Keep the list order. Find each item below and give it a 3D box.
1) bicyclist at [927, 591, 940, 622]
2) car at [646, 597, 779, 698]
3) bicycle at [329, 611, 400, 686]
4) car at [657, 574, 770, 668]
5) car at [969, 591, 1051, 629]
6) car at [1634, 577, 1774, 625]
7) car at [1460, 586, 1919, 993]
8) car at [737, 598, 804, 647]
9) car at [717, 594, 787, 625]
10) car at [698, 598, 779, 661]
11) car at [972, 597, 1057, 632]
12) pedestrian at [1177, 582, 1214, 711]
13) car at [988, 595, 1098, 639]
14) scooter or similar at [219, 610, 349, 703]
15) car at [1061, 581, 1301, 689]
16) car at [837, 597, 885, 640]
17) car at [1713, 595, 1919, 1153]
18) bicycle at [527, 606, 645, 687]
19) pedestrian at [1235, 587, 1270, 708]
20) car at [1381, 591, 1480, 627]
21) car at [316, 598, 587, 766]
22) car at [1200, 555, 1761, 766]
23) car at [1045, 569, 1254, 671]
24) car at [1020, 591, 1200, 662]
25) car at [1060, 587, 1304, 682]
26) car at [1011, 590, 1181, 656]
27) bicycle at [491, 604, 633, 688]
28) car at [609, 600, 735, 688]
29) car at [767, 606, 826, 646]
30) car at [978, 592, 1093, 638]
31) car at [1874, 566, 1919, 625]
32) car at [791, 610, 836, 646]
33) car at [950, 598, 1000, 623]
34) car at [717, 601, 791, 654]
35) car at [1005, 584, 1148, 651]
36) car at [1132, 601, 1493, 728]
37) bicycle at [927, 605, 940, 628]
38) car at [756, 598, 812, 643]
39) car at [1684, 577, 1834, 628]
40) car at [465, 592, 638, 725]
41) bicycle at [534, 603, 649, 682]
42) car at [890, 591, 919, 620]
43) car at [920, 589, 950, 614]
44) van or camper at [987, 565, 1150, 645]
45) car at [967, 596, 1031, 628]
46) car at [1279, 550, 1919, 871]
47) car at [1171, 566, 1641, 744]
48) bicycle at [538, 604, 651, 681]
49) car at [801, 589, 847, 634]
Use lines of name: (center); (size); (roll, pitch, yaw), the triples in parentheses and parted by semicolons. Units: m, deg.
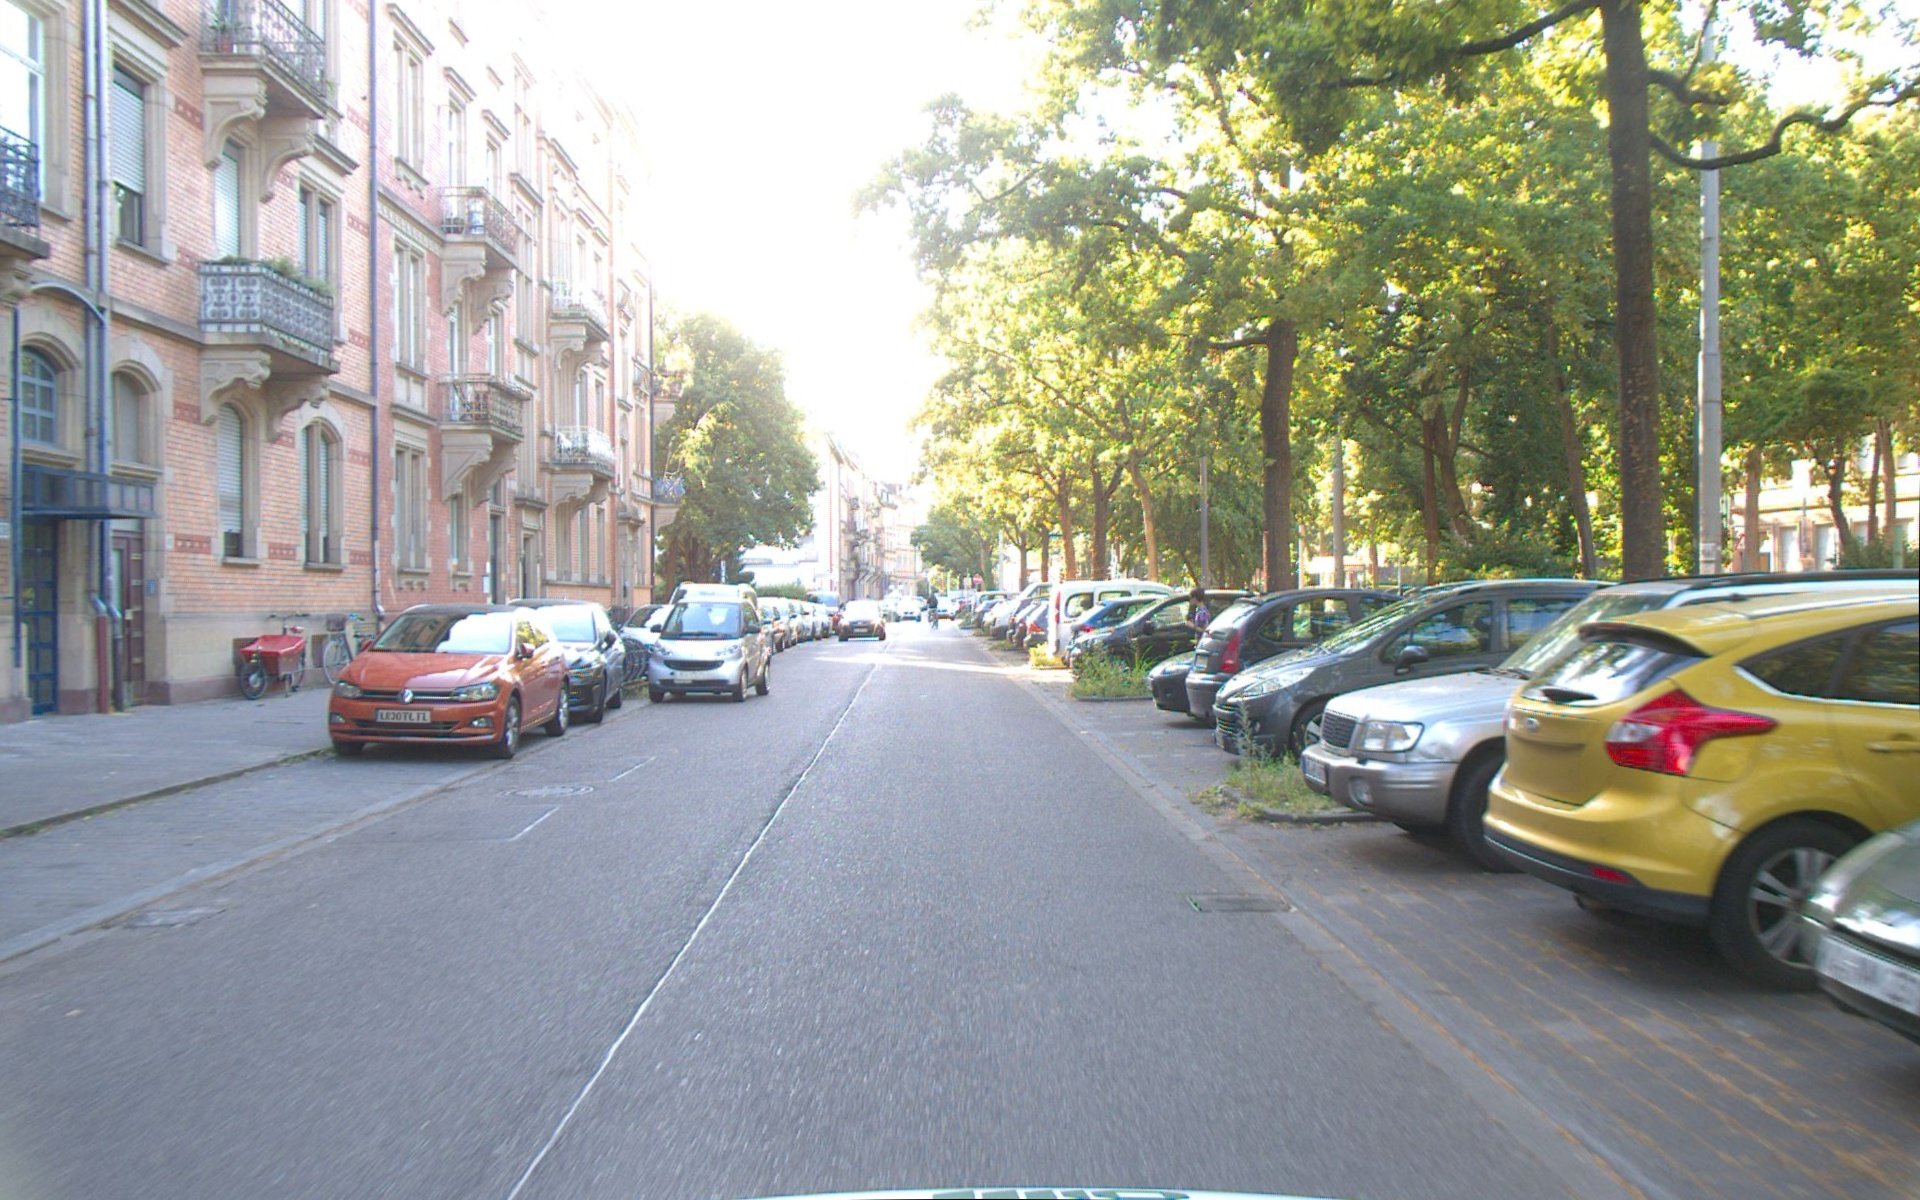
bicyclist: (-1.380, 0.341, 86.106); (0.615, 1.601, 0.801); (0, -2, -2)
car: (-3.812, 0.702, 25.861); (1.473, 1.460, 2.754); (-2, 0, 3)
bicycle: (-9.534, 0.781, 26.530); (0.418, 1.150, 1.769); (0, -2, 2)
car: (-5.435, 0.507, 37.055); (1.953, 1.955, 5.037); (0, -2, -2)
car: (2.462, 0.512, 82.141); (3.908, 1.825, 1.857); (1, -2, -4)
car: (27.311, 0.062, 60.847); (4.603, 1.713, 1.999); (0, -2, 22)
car: (4.554, 0.665, 6.997); (4.308, 1.465, 1.838); (-2, -1, 1)
car: (-6.062, 0.702, 53.232); (1.669, 1.454, 3.877); (2, 0, 0)
car: (-12.336, 0.580, 98.186); (3.905, 1.736, 2.000); (0, -2, 0)
car: (-5.656, 0.729, 42.572); (1.636, 1.512, 3.998); (1, 0, -2)
car: (2.604, 0.699, 79.470); (3.908, 1.591, 1.857); (1, -2, -4)
pedestrian: (3.005, 0.585, 21.061); (0.372, 1.612, 0.519); (0, 2, 18)
car: (3.085, 0.640, 61.866); (3.908, 1.575, 1.857); (1, -2, -4)
scooter or similar: (-9.529, 0.797, 23.447); (0.767, 1.244, 2.703); (0, -2, -1)
car: (3.516, 0.549, 26.808); (3.599, 1.528, 1.761); (-2, 0, 0)
car: (-3.628, 0.669, 61.365); (1.635, 1.489, 3.998); (-2, 0, -2)
car: (4.666, 0.665, 4.562); (4.308, 1.465, 1.838); (-2, -1, 1)
bicycle: (-5.848, 0.728, 25.900); (1.727, 1.236, 0.441); (0, -2, -2)
pedestrian: (3.830, 0.609, 21.635); (0.372, 1.543, 0.519); (0, 2, 18)
car: (23.394, 0.447, 82.249); (4.603, 1.713, 2.000); (0, -2, 22)
car: (-5.107, 0.753, 17.160); (1.719, 1.489, 3.998); (2, 0, -3)
car: (4.418, 0.504, 14.529); (4.309, 1.619, 1.837); (-2, -1, 0)
car: (3.925, 0.410, 34.781); (4.134, 1.896, 1.761); (-2, 0, 0)
car: (3.537, 0.611, 39.349); (4.132, 1.478, 1.649); (-2, 0, 3)
car: (3.891, 0.600, 29.428); (4.001, 1.467, 1.760); (-2, 0, -4)
car: (3.423, 0.578, 42.242); (4.134, 1.478, 1.864); (-2, 0, 0)
bicycle: (-6.007, 0.704, 24.980); (2.055, 1.236, 0.439); (1, -2, -17)
car: (-5.368, 0.775, 31.311); (1.640, 1.480, 4.209); (-2, 0, 0)
car: (-6.260, 0.977, 63.759); (1.720, 1.491, 4.268); (0, 0, 2)
car: (2.923, 0.601, 64.480); (4.303, 1.729, 1.857); (1, -2, -4)
car: (29.709, -0.125, 49.368); (3.903, 1.713, 2.001); (0, -2, 18)
car: (-6.386, 1.212, 72.413); (1.721, 1.491, 4.266); (0, 0, -2)
car: (1.270, 0.881, 139.603); (3.902, 2.049, 2.001); (0, -2, 10)
car: (-5.910, 0.765, 47.799); (1.636, 1.454, 4.240); (0, 0, -1)
car: (3.302, 0.495, 47.317); (3.906, 1.721, 1.859); (-2, 0, 0)
car: (3.998, 0.715, 19.147); (3.765, 1.301, 1.690); (-2, 0, -2)
bicycle: (-1.370, 0.858, 86.051); (0.628, 1.119, 1.943); (0, -2, -2)
car: (-6.260, 0.722, 59.260); (1.721, 1.542, 4.159); (0, 0, -2)
car: (27.953, 0.125, 58.050); (4.603, 1.713, 1.999); (0, -2, 22)
car: (-5.305, 0.719, 21.925); (1.714, 1.573, 4.145); (1, 0, -7)
bicycle: (-5.875, 0.682, 26.416); (1.727, 1.236, 0.464); (0, -2, -2)
car: (-3.864, 0.419, 113.948); (1.953, 1.870, 3.997); (0, -2, -2)
car: (-1.715, 0.092, 112.992); (1.743, 1.703, 4.483); (0, 0, -4)
van or camper: (3.353, 0.195, 51.881); (4.882, 2.419, 2.183); (0, -2, -3)
car: (2.556, 0.770, 108.092); (3.902, 2.049, 2.001); (0, -2, 10)
car: (4.239, 0.576, 9.749); (4.311, 1.619, 1.837); (-2, -1, -2)
car: (4.522, 0.539, 17.133); (4.315, 1.619, 1.835); (-2, -1, -6)
bicycle: (-5.936, 0.697, 26.925); (1.727, 1.236, 0.428); (0, -2, -2)
car: (-6.385, 0.537, 77.953); (1.918, 2.053, 4.266); (0, 0, -2)
